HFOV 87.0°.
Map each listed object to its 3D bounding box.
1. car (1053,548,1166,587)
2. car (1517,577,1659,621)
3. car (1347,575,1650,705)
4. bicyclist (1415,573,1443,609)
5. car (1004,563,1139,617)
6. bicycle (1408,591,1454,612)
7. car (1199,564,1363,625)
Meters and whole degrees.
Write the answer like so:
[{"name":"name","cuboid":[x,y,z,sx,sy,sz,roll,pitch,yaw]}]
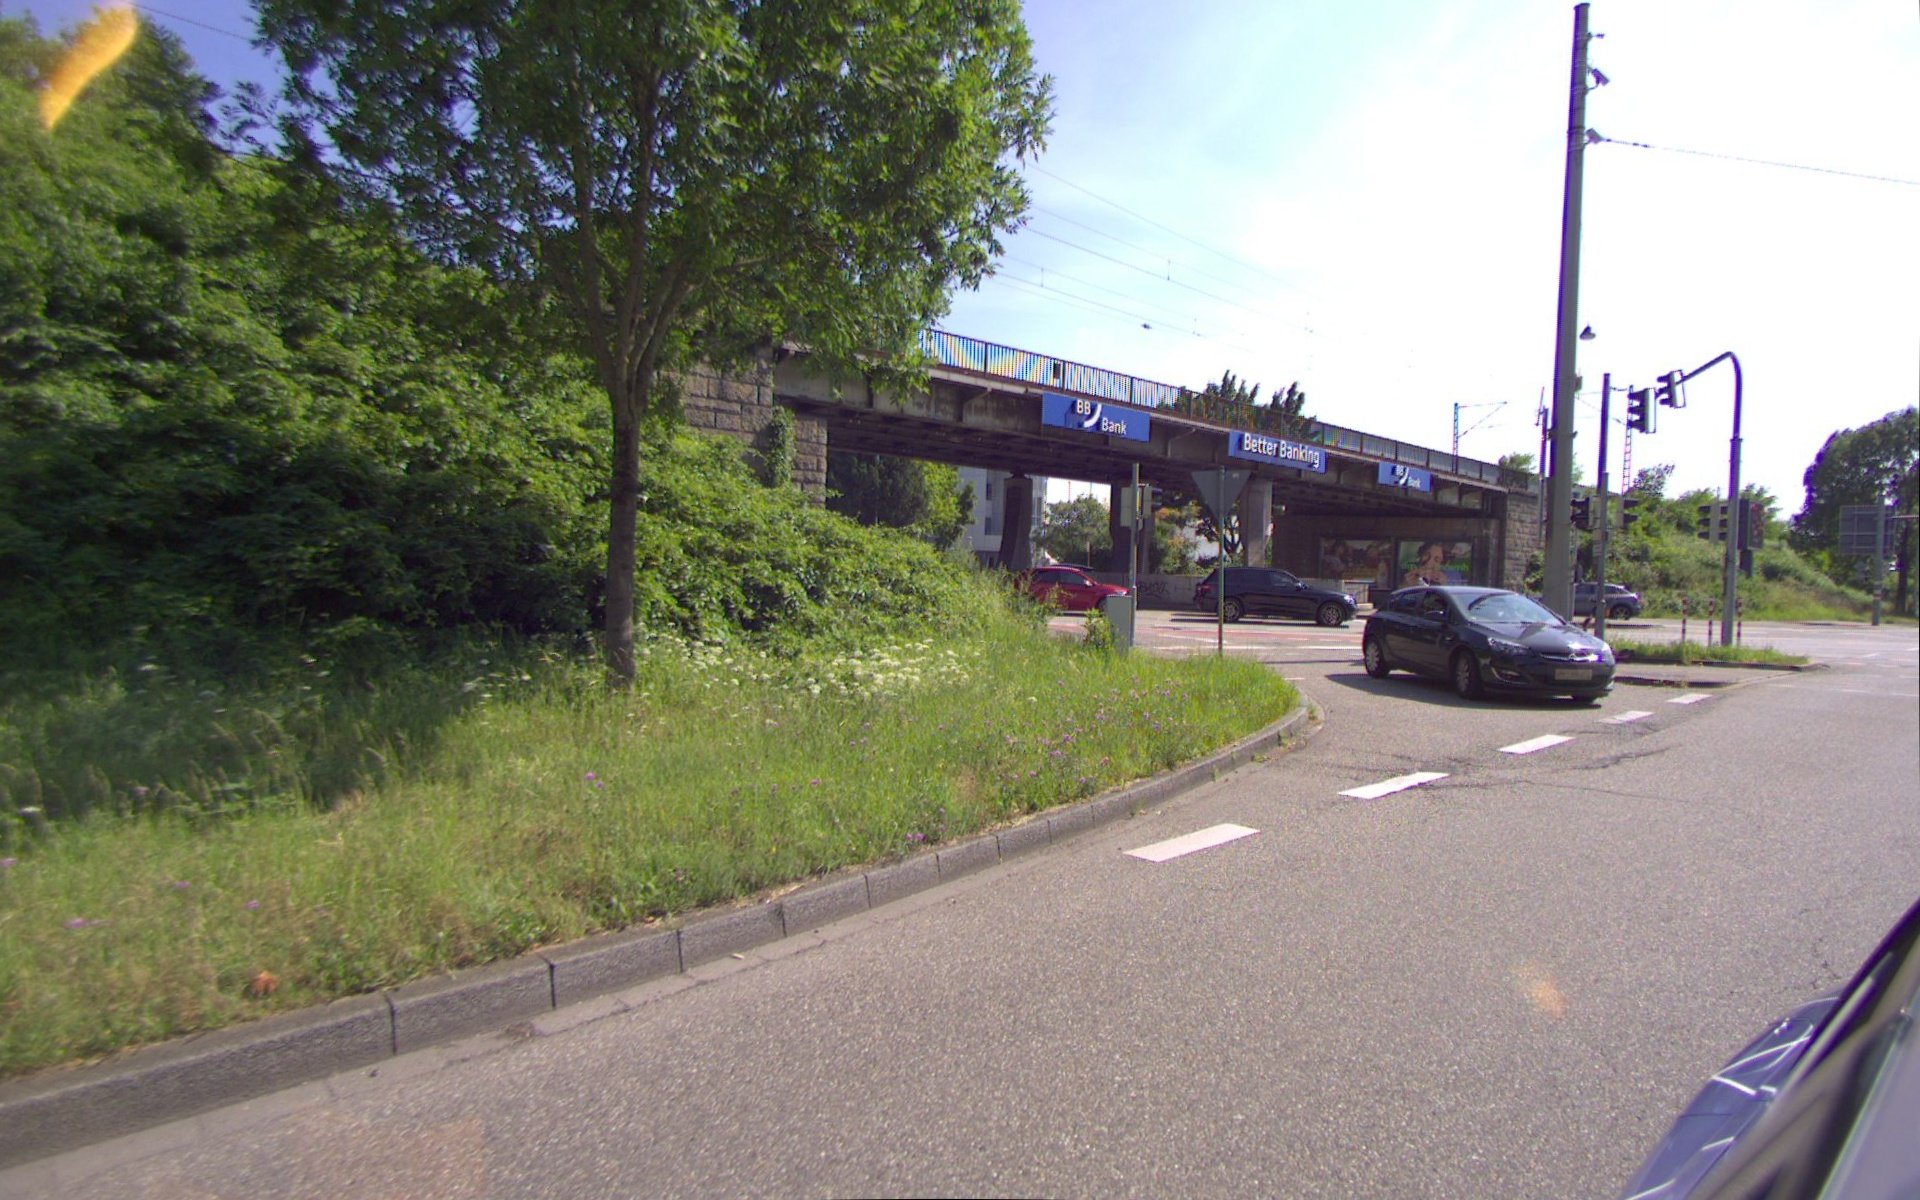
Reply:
[{"name":"car","cuboid":[6.820,-1.485,46.033,4.902,1.628,1.940,2,1,14]},{"name":"car","cuboid":[25.556,-0.069,41.354,4.497,1.569,1.821,2,1,16]},{"name":"car","cuboid":[7.339,0.430,14.369,1.792,1.525,4.220,1,1,-4]},{"name":"bicyclist","cuboid":[22.209,-0.438,47.942,1.055,1.654,0.801,2,-1,21]},{"name":"car","cuboid":[3.488,-0.342,31.361,3.942,1.437,1.701,2,4,15]},{"name":"bicycle","cuboid":[22.285,0.067,47.908,1.903,0.904,0.812,3,-1,21]},{"name":"car","cuboid":[9.343,-0.191,29.838,4.377,1.616,1.993,2,1,12]}]
